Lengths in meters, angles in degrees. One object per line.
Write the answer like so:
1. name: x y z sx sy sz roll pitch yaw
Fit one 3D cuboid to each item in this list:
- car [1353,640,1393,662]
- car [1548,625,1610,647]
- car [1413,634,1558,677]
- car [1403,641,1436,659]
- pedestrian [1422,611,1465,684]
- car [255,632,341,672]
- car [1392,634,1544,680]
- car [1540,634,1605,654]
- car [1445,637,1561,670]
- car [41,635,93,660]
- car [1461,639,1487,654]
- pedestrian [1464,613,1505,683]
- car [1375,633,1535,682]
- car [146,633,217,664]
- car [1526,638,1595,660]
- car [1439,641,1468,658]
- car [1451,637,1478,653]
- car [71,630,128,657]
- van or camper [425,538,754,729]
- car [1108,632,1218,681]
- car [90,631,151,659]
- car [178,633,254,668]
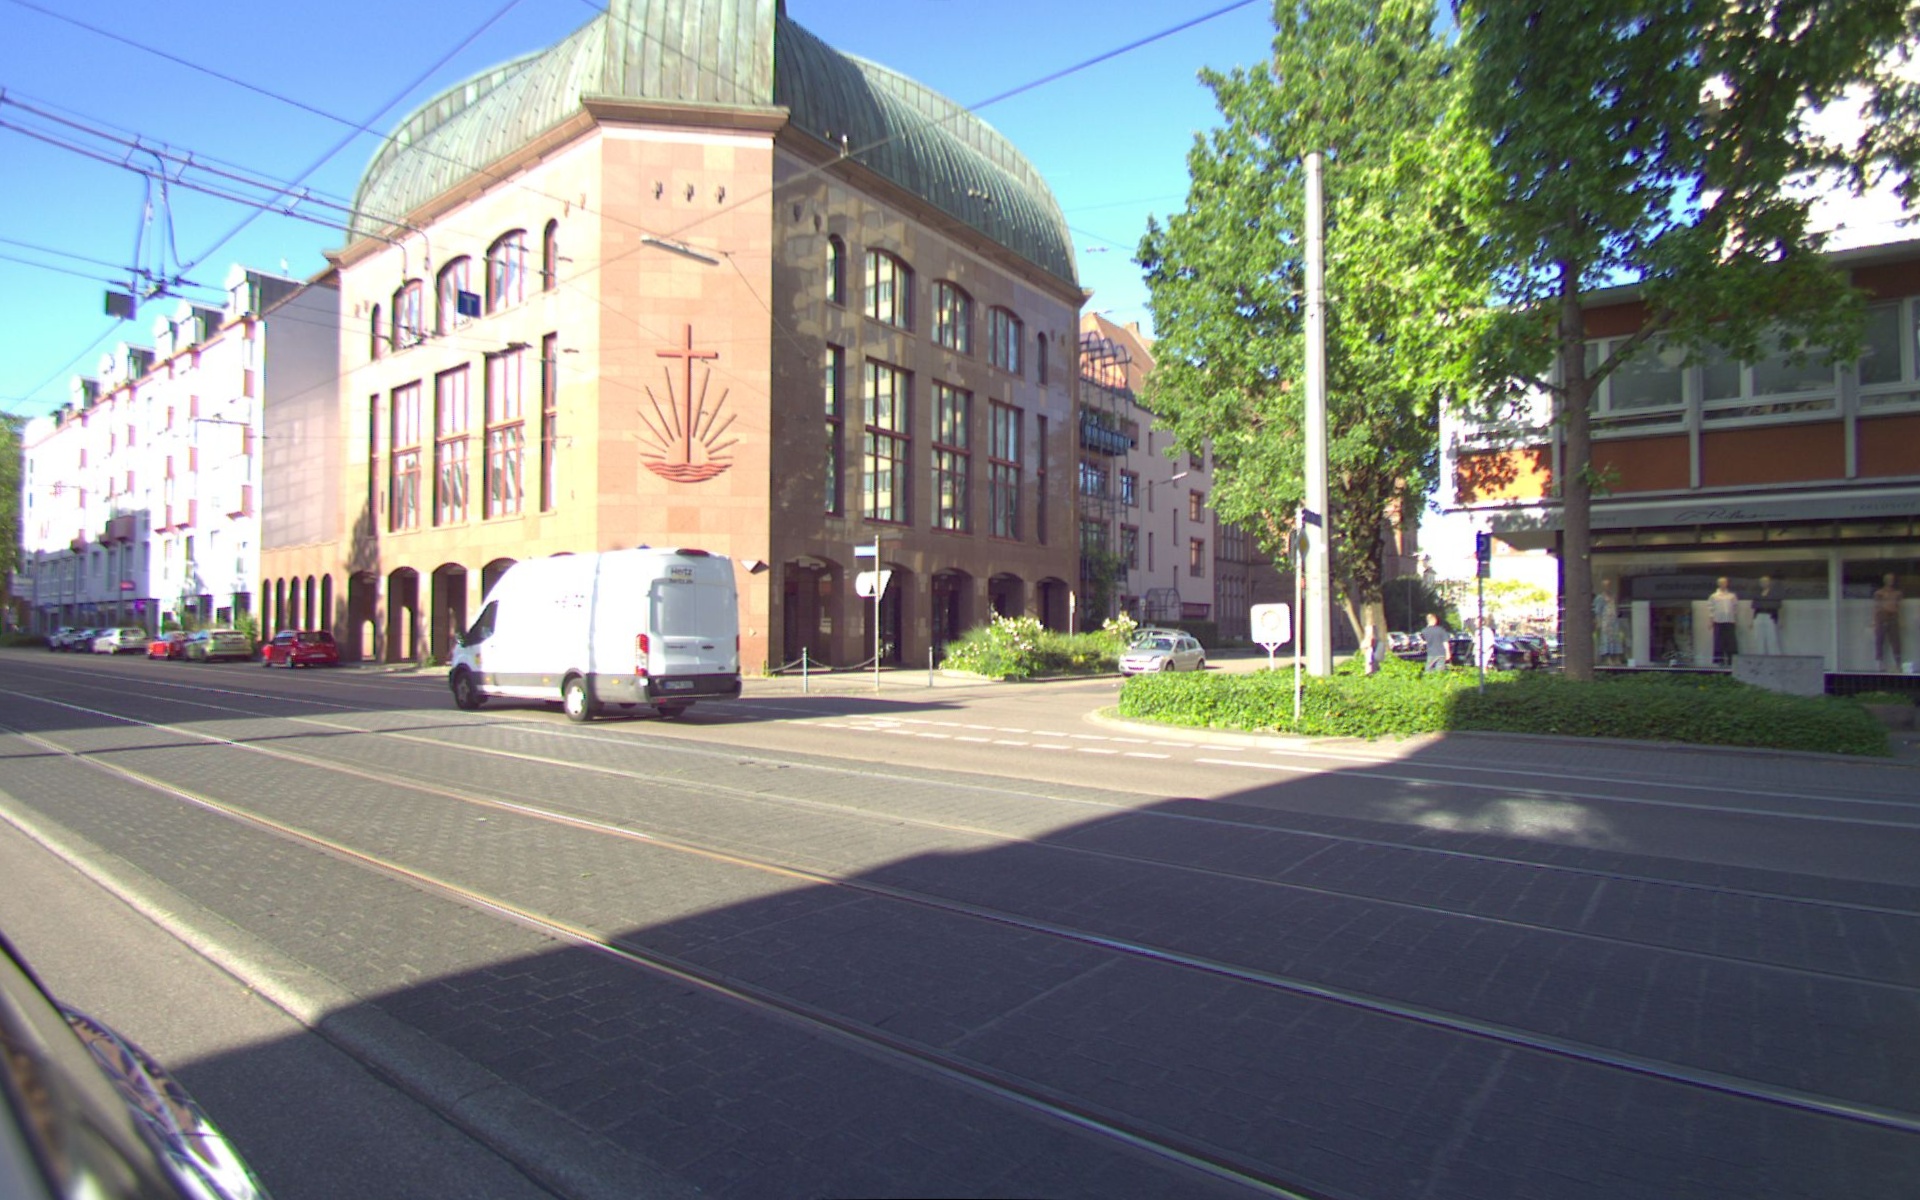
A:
1. car: 30.512 3.767 74.669 1.994 1.542 4.178 -1 -3 33
2. car: 57.763 3.364 94.474 4.826 2.029 1.975 -2 -3 37
3. car: 20.545 2.116 39.677 4.723 1.541 1.973 -2 -1 41
4. car: 39.496 4.261 86.946 1.994 1.542 4.178 -1 -3 33
5. pedestrian: 10.823 1.063 22.661 0.440 1.604 0.723 2 -3 -42
6. car: -25.611 1.974 39.122 3.466 1.465 1.732 -1 -2 38
7. car: 18.891 2.071 37.728 4.723 1.541 1.973 -2 -1 41
8. car: 48.802 3.525 80.656 4.264 1.542 1.977 -2 -3 35
9. car: 26.753 2.612 49.974 4.723 1.542 1.973 -2 -3 41
10. car: -55.535 2.927 62.916 3.849 1.465 1.833 -1 -2 39
11. car: 55.432 5.038 109.094 1.994 1.542 4.178 -1 -3 33
12. pedestrian: 12.285 1.116 23.714 0.439 1.604 0.724 1 -3 -26
13. car: 17.443 1.968 35.811 4.723 1.541 1.973 -2 0 41
14. car: -37.056 2.282 48.137 3.849 1.364 1.833 -1 -2 39
15. car: 44.471 3.615 75.017 4.264 1.542 1.977 -2 -3 35
16. car: 46.866 4.671 96.100 1.994 1.542 4.178 -1 -3 33
17. car: 52.199 4.664 104.758 1.994 1.542 4.178 -1 -3 33
18. car: -49.618 2.478 58.351 3.849 1.465 1.833 -1 -2 39
19. van or camper: -6.669 0.595 17.639 7.012 2.760 2.016 -1 -3 39
20. car: 7.011 1.894 34.674 1.997 1.542 4.220 -1 -3 38
21. car: -45.878 2.432 55.293 3.849 1.465 1.833 -1 -2 39
22. car: -33.184 2.198 45.096 3.849 1.465 1.833 -1 -2 39
